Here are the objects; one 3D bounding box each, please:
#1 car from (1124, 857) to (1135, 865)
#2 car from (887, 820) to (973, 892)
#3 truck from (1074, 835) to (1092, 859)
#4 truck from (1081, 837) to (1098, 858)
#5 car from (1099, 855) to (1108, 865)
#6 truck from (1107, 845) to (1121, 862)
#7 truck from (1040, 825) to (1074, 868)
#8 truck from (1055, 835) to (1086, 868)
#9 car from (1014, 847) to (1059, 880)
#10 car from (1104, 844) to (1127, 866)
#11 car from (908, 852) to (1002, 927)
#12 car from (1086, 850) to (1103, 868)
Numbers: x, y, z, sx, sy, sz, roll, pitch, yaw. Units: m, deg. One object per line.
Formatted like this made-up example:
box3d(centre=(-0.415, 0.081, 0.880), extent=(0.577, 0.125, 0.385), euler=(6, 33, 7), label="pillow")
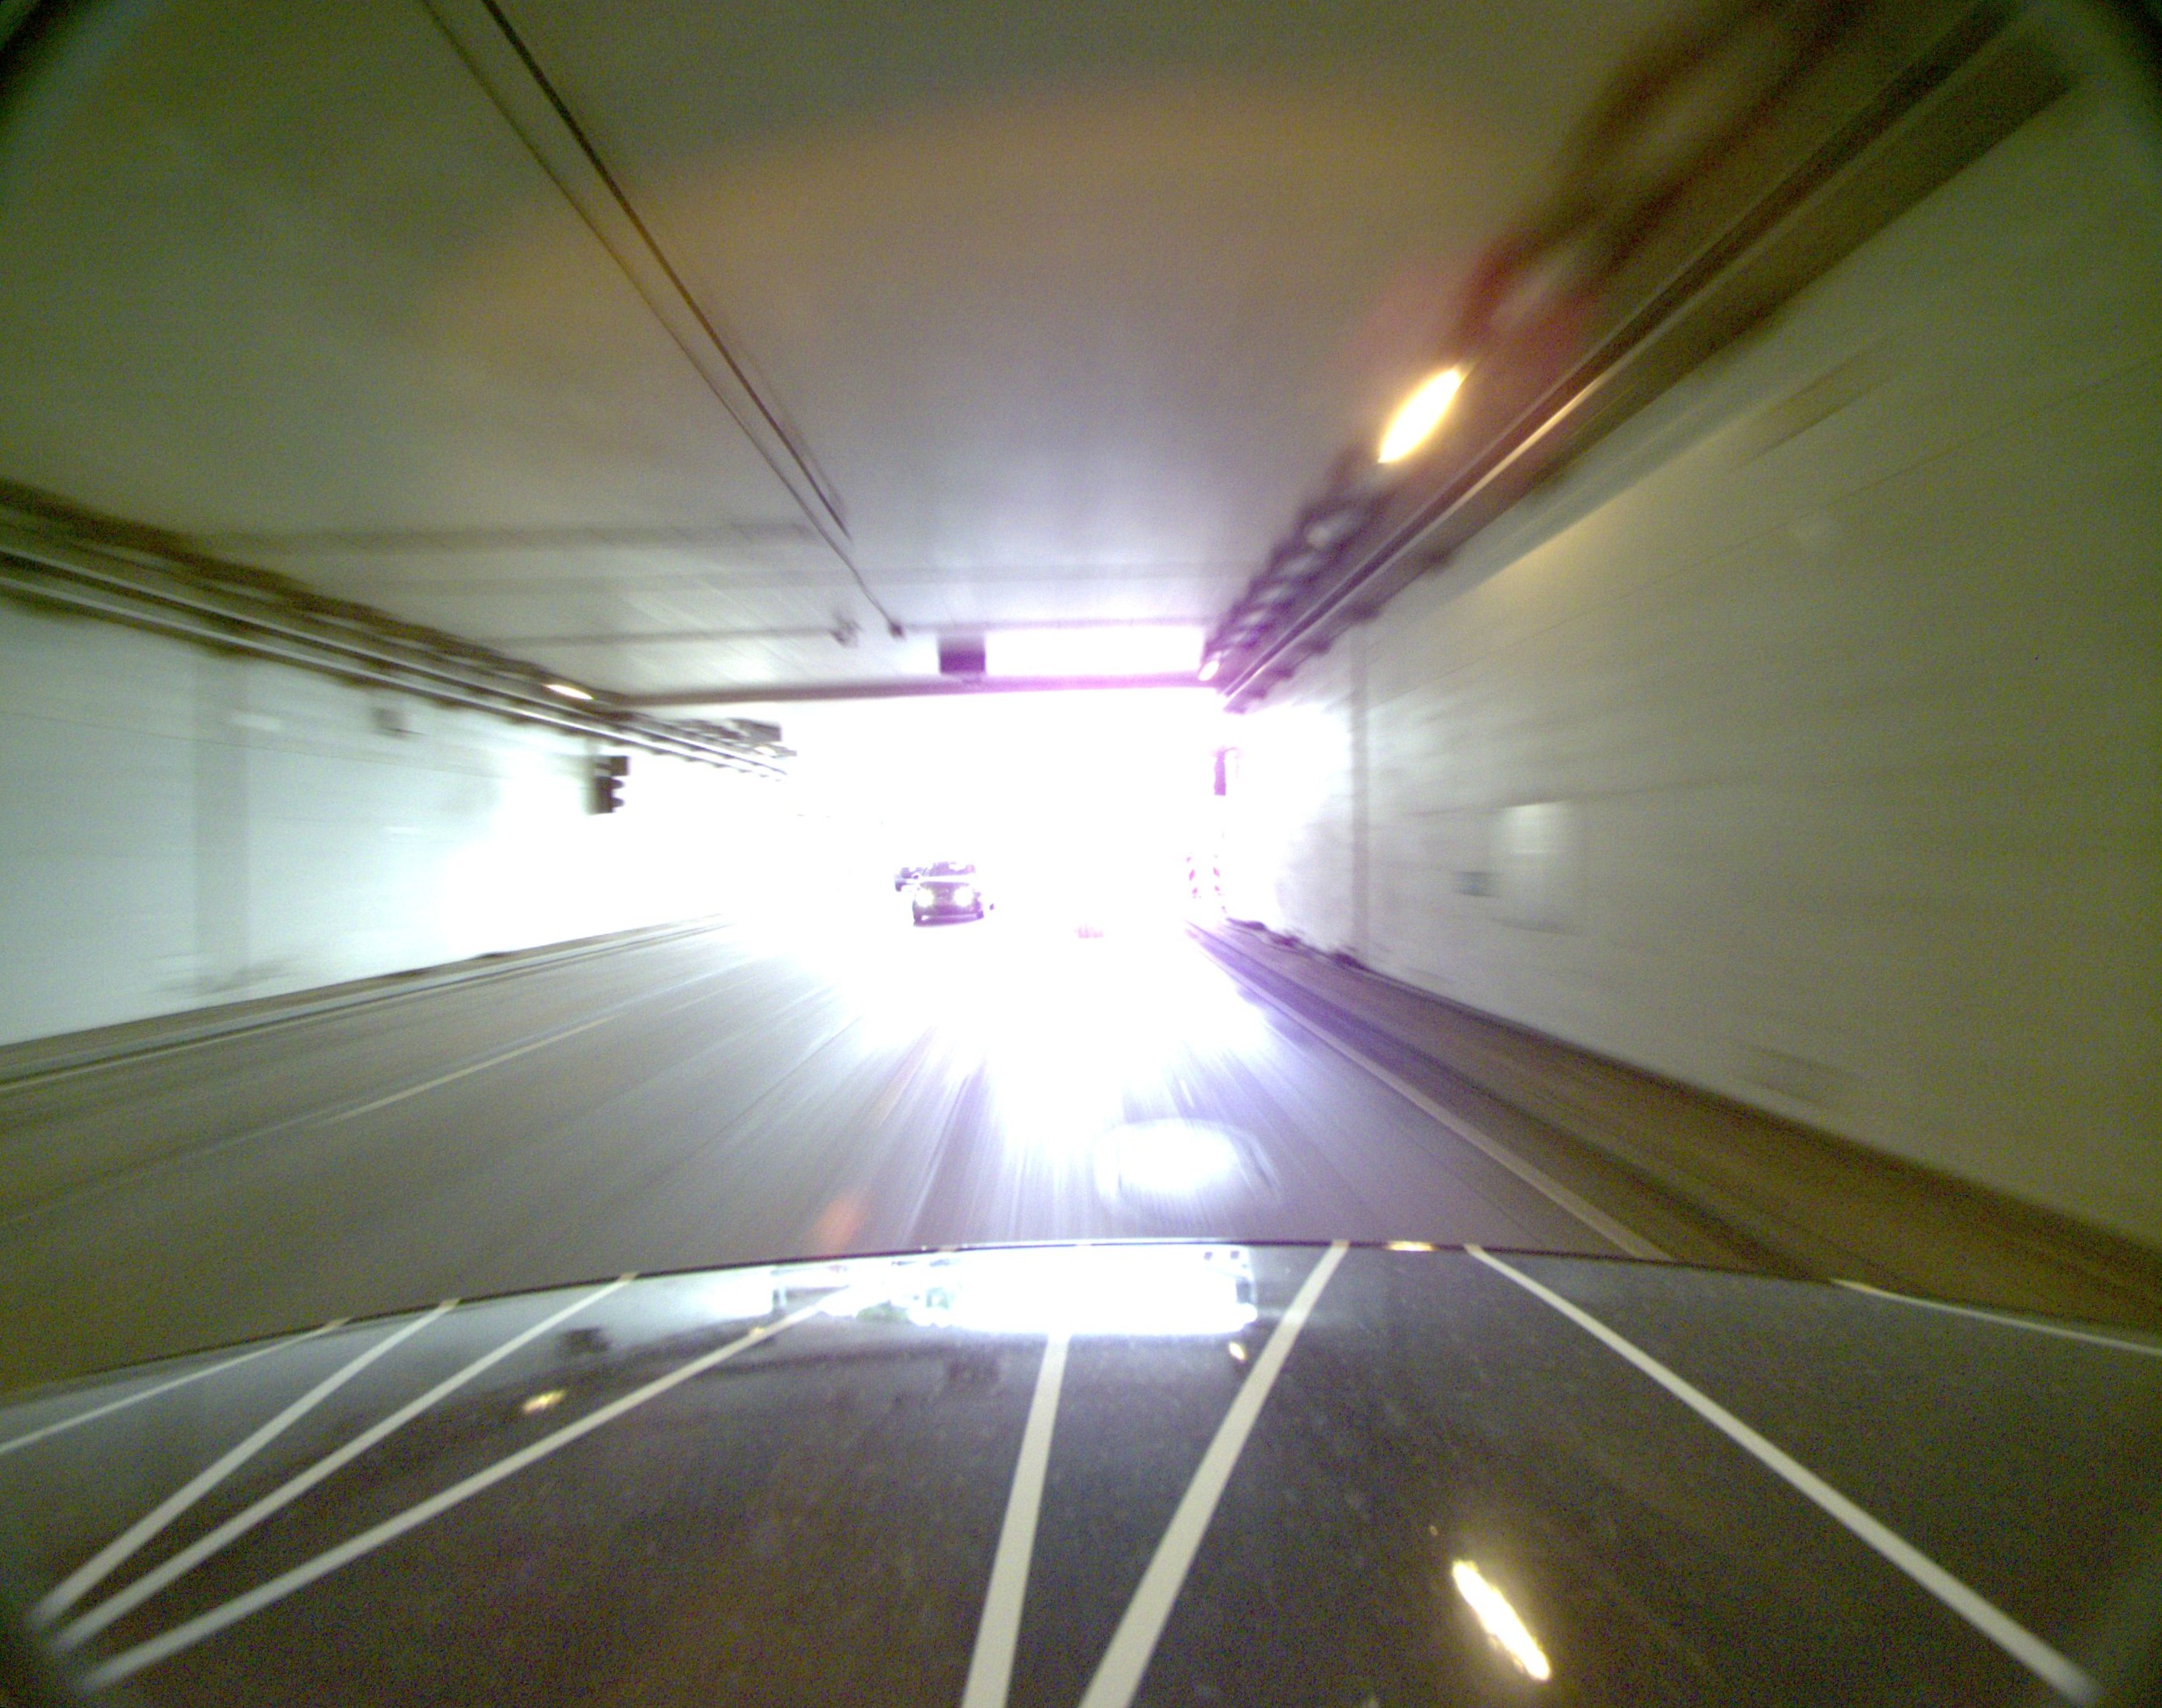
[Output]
box3d(centre=(10.433, 1.548, 163.390), extent=(1.950, 1.524, 4.000), euler=(-3, -1, -1), label="car")
box3d(centre=(-6.483, 0.063, 33.587), extent=(2.106, 2.830, 6.861), euler=(-1, 0, 2), label="car")
box3d(centre=(0.308, -1.055, 113.054), extent=(2.494, 3.369, 6.374), euler=(-2, 2, 0), label="truck")
box3d(centre=(1.342, -1.051, 122.790), extent=(2.494, 3.121, 6.374), euler=(-2, 2, 0), label="truck")
box3d(centre=(4.439, 1.193, 148.083), extent=(1.639, 1.789, 3.715), euler=(-2, 2, 0), label="car")
box3d(centre=(5.549, -0.120, 128.407), extent=(2.138, 2.713, 5.670), euler=(-2, 2, 0), label="truck")
box3d(centre=(-2.657, -0.906, 86.321), extent=(2.886, 4.447, 10.453), euler=(-2, 2, 3), label="truck")
box3d(centre=(-0.850, -0.231, 63.226), extent=(2.073, 2.525, 6.023), euler=(-2, 2, 3), label="truck")
box3d(centre=(-2.328, 0.509, 40.439), extent=(1.764, 1.551, 3.820), euler=(-3, -1, 5), label="car")
box3d(centre=(3.202, 0.068, 71.908), extent=(1.935, 1.918, 4.195), euler=(-2, 2, 0), label="car")
box3d(centre=(-2.995, 0.791, 18.756), extent=(1.639, 1.552, 3.715), euler=(-2, 1, 0), label="car")
box3d(centre=(1.429, 0.508, 79.203), extent=(1.639, 1.661, 3.715), euler=(-2, 2, 0), label="car")
